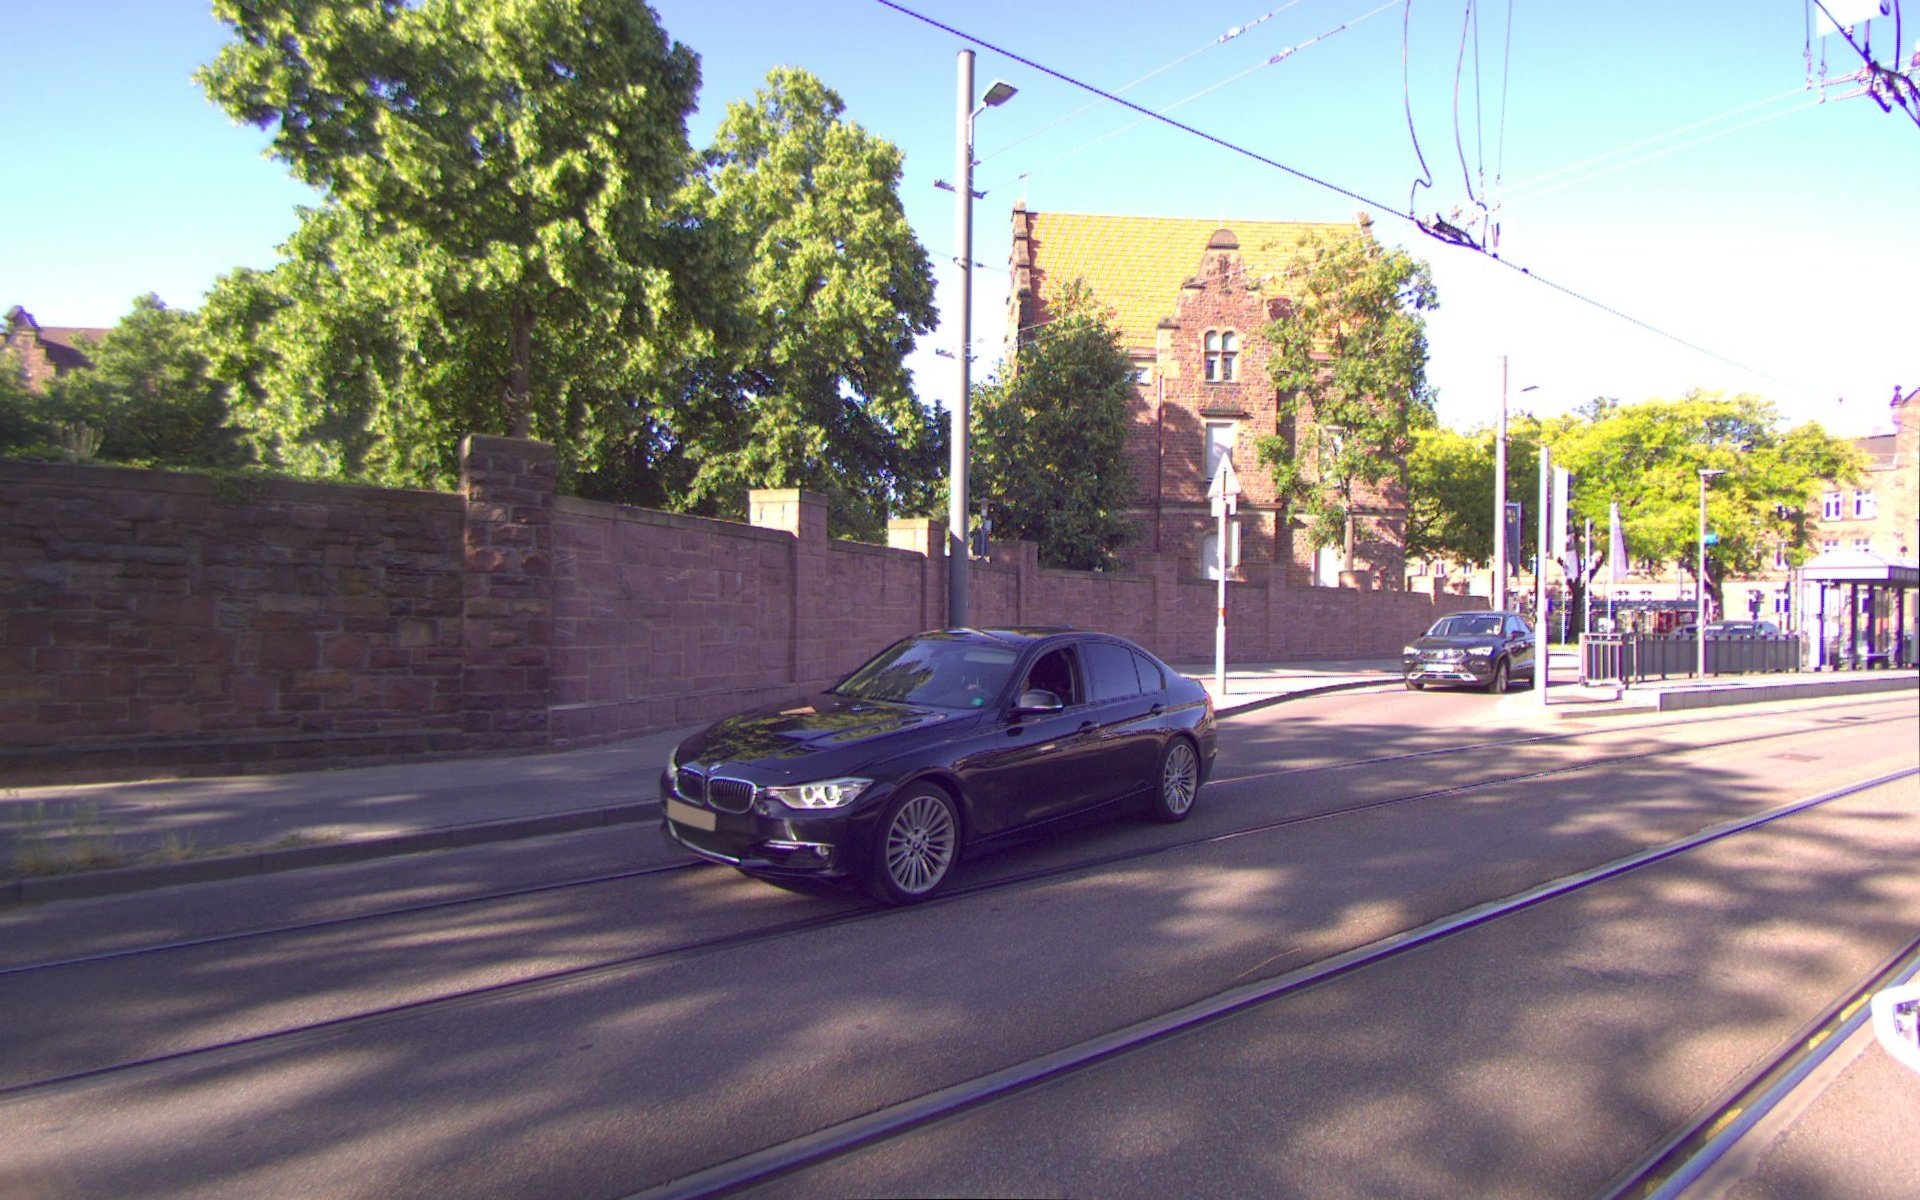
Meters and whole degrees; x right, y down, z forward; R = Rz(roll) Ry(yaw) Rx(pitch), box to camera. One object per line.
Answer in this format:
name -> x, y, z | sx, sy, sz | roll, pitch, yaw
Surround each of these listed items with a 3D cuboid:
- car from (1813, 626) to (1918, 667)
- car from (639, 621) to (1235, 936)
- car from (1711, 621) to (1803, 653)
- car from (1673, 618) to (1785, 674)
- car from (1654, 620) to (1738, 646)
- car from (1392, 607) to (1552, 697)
car -> 34.272, 1.727, 37.991 | 4.575, 1.434, 1.872 | 1, -1, -33
car -> 0.158, 0.891, 6.888 | 1.715, 1.441, 4.240 | 1, -1, 40
car -> 46.589, 2.149, 58.795 | 1.730, 1.682, 3.840 | 2, 0, -30
car -> 24.236, 1.410, 31.616 | 4.080, 1.659, 1.783 | 1, -1, -37
car -> 48.360, 2.163, 66.038 | 1.855, 1.542, 4.045 | 2, 0, -30
car -> 10.481, 1.001, 20.420 | 1.900, 1.638, 4.095 | 0, -1, 42
